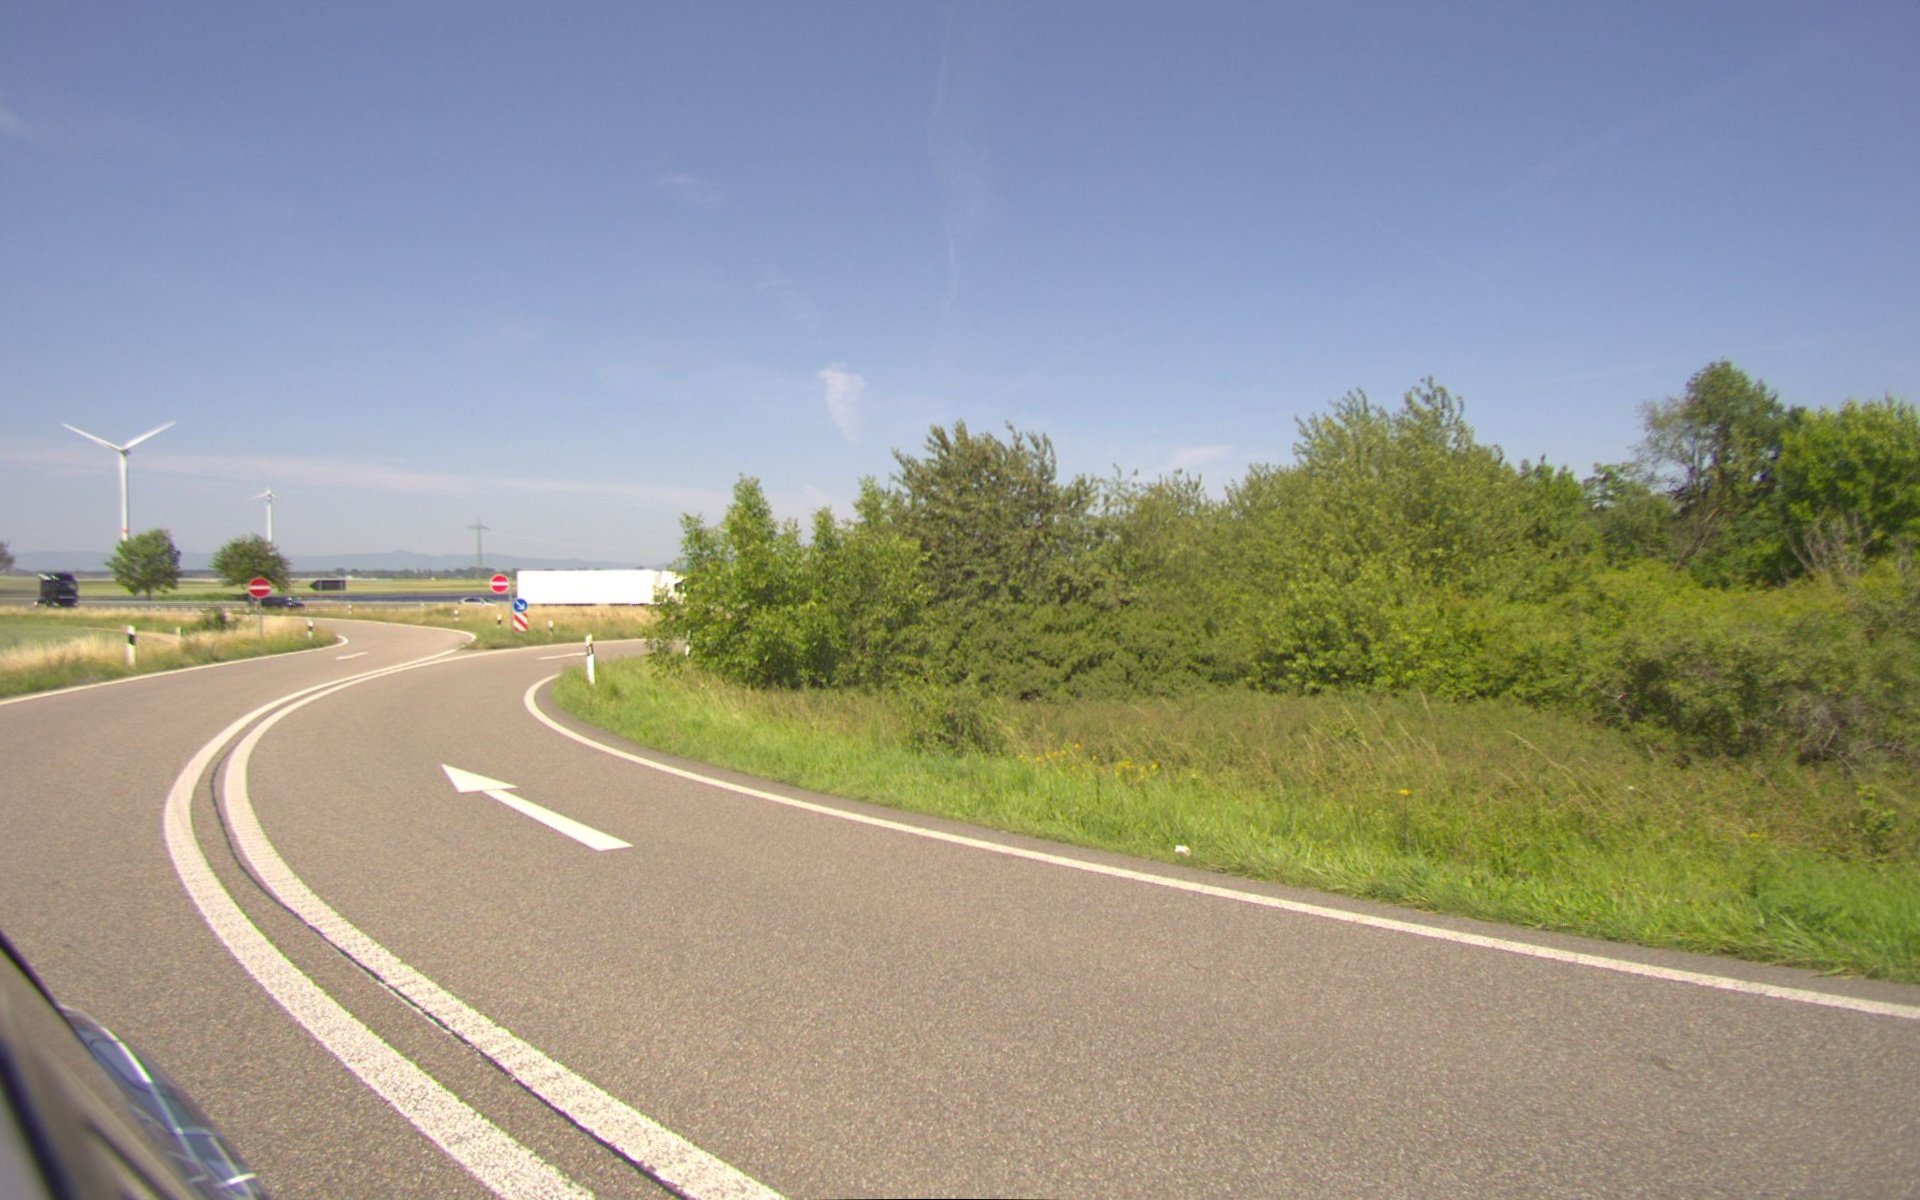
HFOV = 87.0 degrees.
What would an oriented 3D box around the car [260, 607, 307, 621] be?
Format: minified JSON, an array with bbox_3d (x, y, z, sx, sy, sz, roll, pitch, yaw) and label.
[{"bbox_3d":[-68.359,1.387,102.276,3.956,1.364,1.676,1,0,10],"label":"car"}]

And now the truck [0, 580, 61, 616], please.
[{"bbox_3d":[-94.854,-0.192,101.952,6.163,3.544,3.108,0,0,8],"label":"truck"}]

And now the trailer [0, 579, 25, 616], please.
[{"bbox_3d":[-103.072,-0.281,103.139,14.346,3.672,3.095,0,0,8],"label":"trailer"}]

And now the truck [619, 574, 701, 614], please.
[{"bbox_3d":[-26.941,-0.539,91.080,6.379,3.544,3.108,0,0,8],"label":"truck"}]

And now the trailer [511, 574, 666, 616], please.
[{"bbox_3d":[-33.742,-0.436,92.053,13.497,3.672,3.095,0,0,8],"label":"trailer"}]
